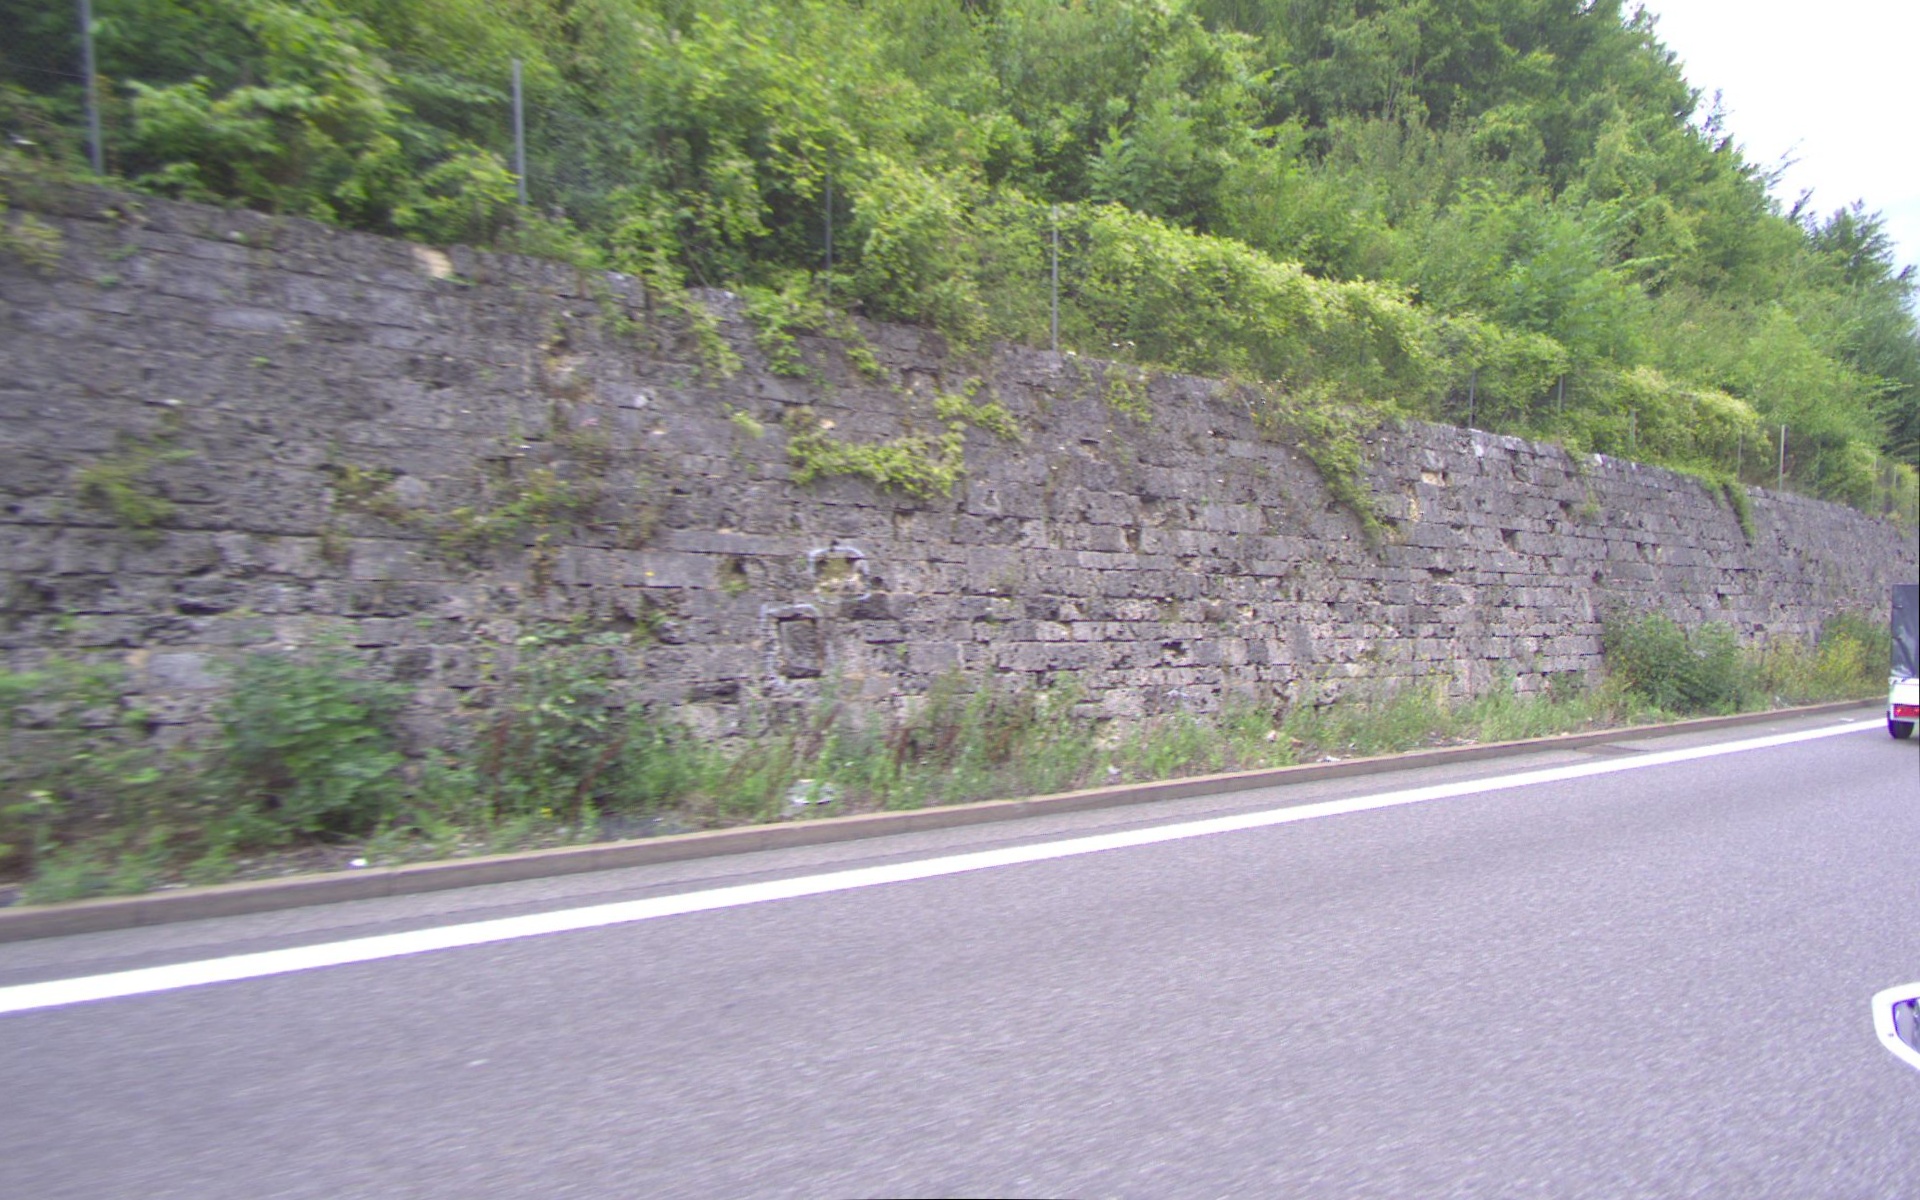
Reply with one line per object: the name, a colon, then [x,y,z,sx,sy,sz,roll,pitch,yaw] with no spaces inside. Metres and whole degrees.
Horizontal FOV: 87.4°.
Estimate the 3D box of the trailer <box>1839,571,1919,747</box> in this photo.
trailer: [12.318,0.686,11.982,3.395,1.965,1.959,1,0,-34]
